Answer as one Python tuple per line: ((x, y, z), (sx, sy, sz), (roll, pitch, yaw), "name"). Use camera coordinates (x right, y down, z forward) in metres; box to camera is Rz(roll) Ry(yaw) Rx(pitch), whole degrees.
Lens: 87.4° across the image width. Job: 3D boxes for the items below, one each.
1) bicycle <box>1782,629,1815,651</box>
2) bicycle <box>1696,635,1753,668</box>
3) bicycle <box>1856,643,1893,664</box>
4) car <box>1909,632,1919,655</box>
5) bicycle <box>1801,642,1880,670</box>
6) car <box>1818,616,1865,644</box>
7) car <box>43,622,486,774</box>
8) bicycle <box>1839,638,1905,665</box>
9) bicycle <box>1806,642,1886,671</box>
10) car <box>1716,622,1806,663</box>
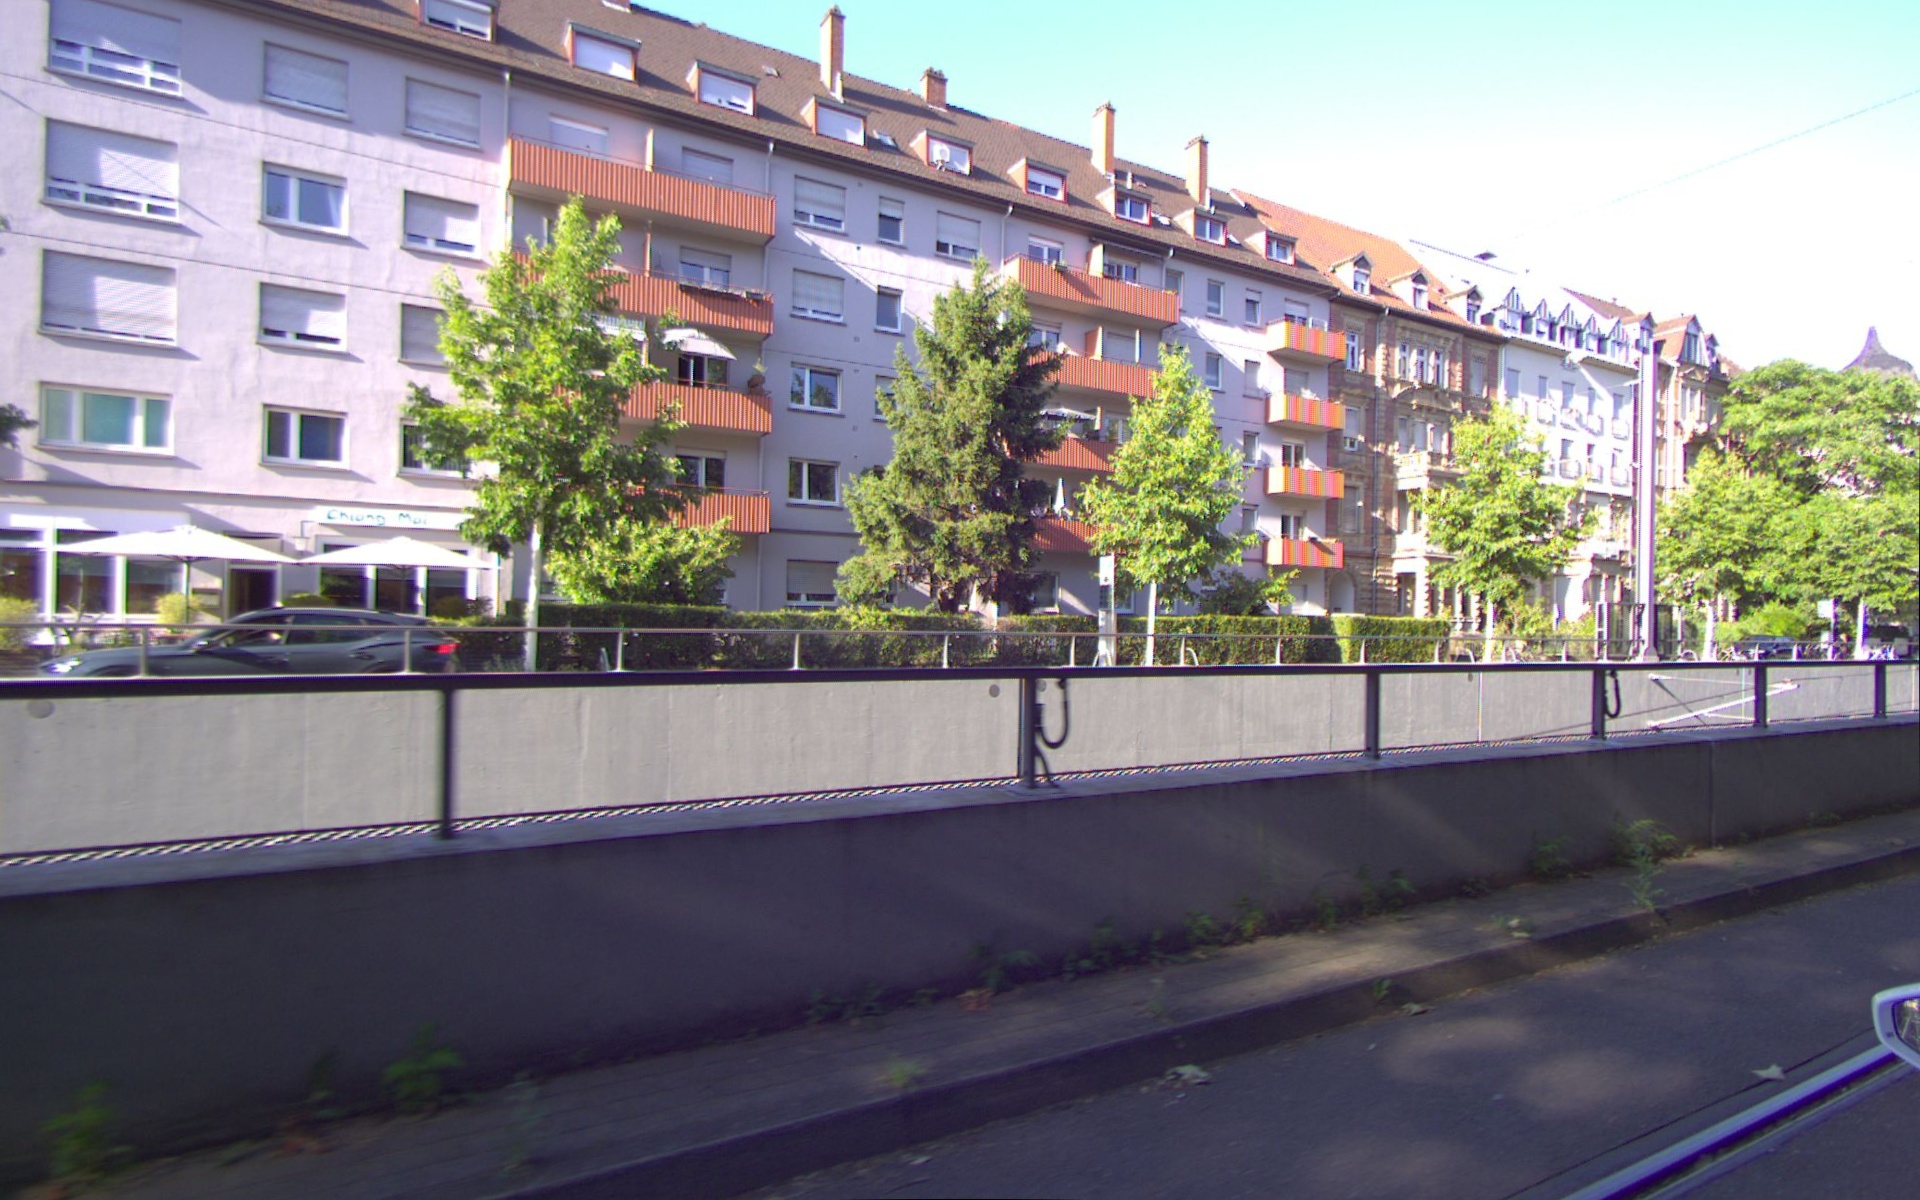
((45.213, 2.143, 54.140), (2.348, 1.113, 0.552), (2, 2, -30), "bicycle")
((32.316, 2.166, 42.488), (0.555, 1.194, 1.801), (2, 2, -26), "bicycle")
((46.217, 2.688, 50.790), (1.246, 0.917, 0.538), (4, 2, 31), "bicycle")
((71.860, 3.279, 72.986), (1.809, 1.646, 3.956), (1, 1, -38), "car")
((42.413, 2.671, 48.435), (2.736, 1.113, 0.642), (3, 2, 29), "bicycle")
((65.041, 2.181, 74.119), (4.446, 1.874, 1.975), (1, 2, -42), "car")
((-8.627, 1.134, 12.924), (4.360, 1.524, 1.959), (2, 2, -32), "car")
((45.744, 2.568, 50.395), (2.333, 1.113, 0.556), (4, 2, 31), "bicycle")
((42.125, 2.676, 47.802), (2.736, 1.113, 0.642), (3, 2, 29), "bicycle")
((35.069, 1.845, 43.954), (3.956, 1.606, 1.822), (2, 2, -32), "car")
